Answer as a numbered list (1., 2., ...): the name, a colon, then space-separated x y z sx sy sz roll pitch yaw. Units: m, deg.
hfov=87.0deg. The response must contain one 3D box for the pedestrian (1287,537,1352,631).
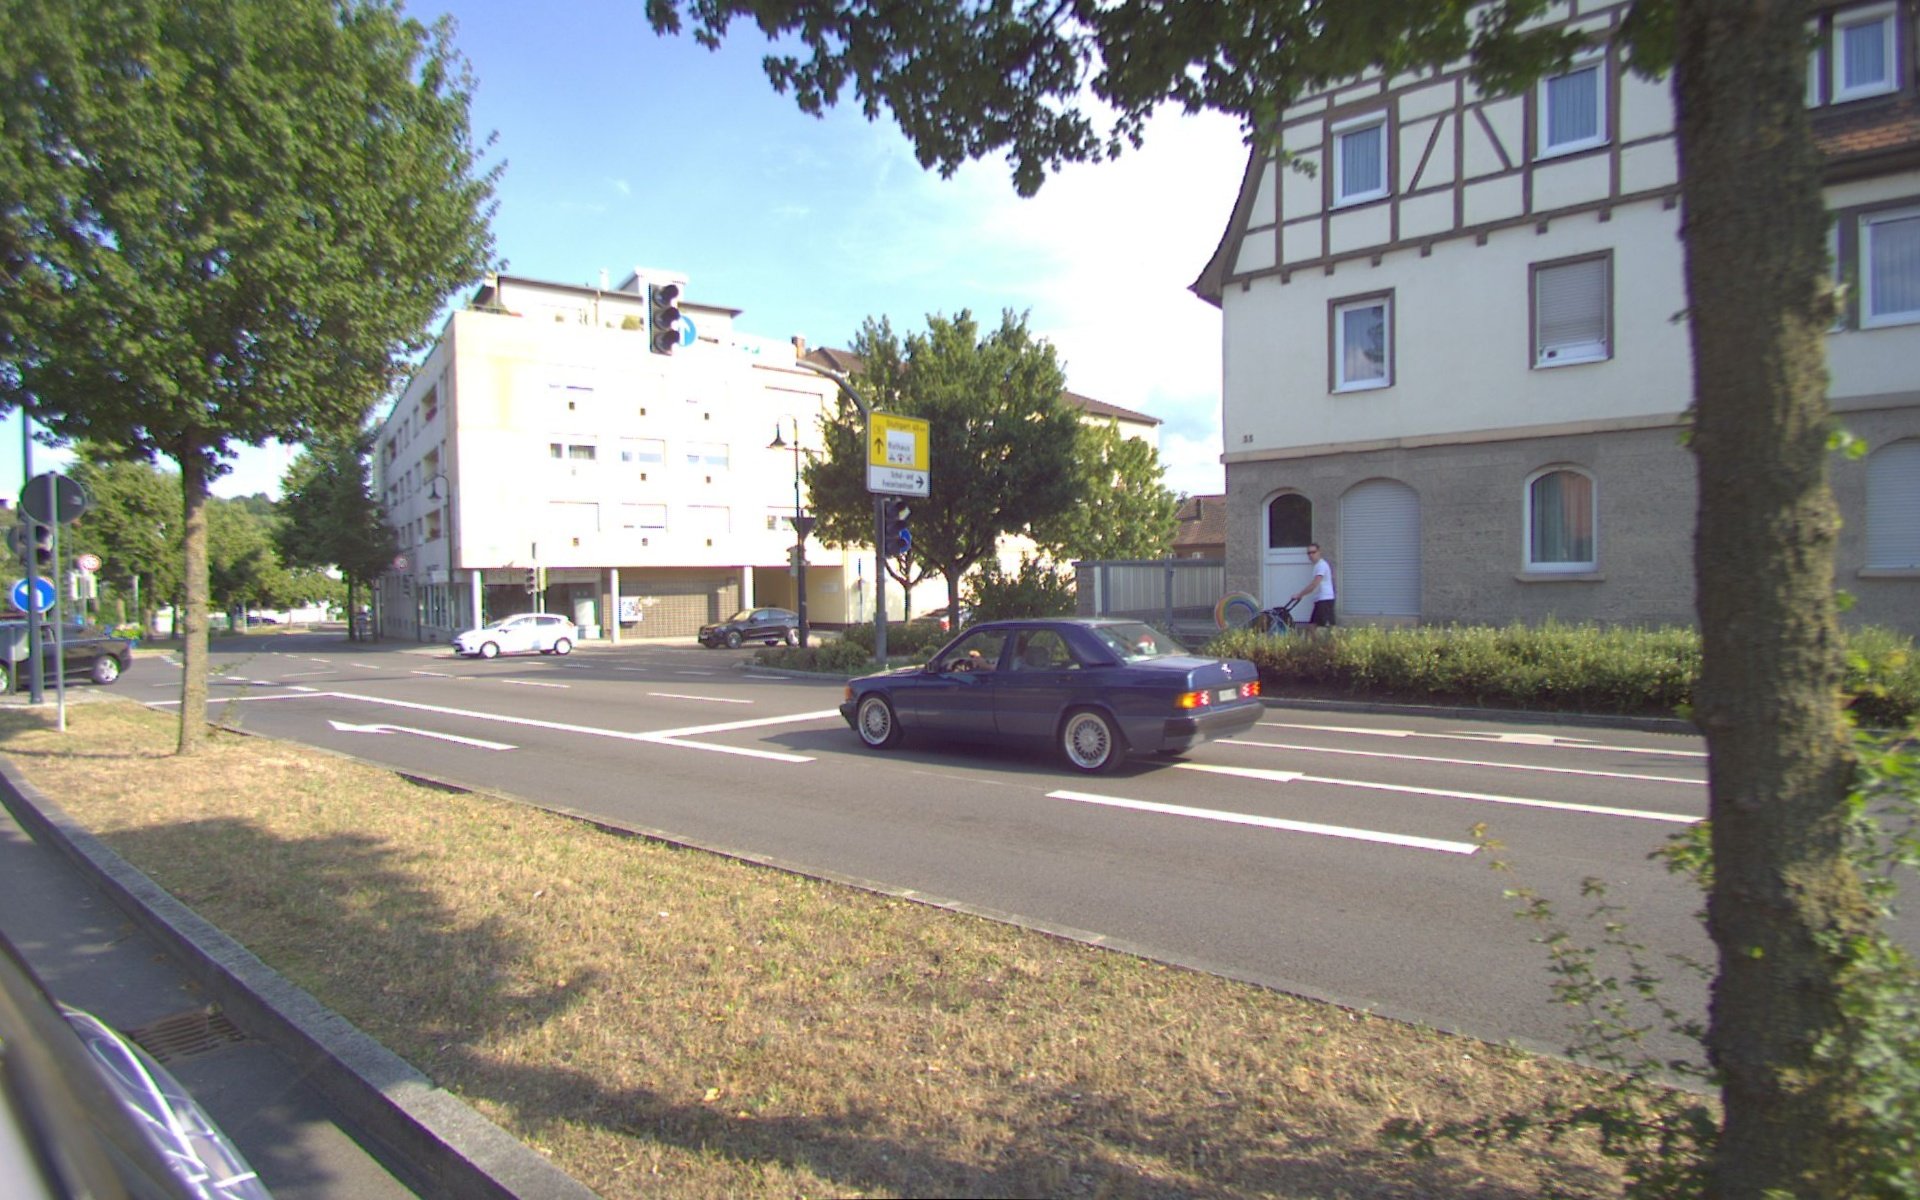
1. pedestrian: 5.583 -0.230 15.720 0.706 1.405 0.804 -2 -1 39

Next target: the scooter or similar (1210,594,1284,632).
1. scooter or similar: 4.587 0.205 16.197 1.042 0.586 0.439 -2 -1 39

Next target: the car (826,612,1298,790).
1. car: 0.814 0.836 10.018 4.482 1.371 1.738 -1 -1 41

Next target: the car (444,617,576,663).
1. car: -15.434 1.334 34.771 3.766 1.447 1.870 0 -1 -42

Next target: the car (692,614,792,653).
1. car: -8.677 1.304 40.394 3.538 1.447 1.750 0 -1 -44

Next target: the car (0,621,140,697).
1. car: -19.628 1.174 20.811 1.888 1.447 4.879 0 -1 -5
